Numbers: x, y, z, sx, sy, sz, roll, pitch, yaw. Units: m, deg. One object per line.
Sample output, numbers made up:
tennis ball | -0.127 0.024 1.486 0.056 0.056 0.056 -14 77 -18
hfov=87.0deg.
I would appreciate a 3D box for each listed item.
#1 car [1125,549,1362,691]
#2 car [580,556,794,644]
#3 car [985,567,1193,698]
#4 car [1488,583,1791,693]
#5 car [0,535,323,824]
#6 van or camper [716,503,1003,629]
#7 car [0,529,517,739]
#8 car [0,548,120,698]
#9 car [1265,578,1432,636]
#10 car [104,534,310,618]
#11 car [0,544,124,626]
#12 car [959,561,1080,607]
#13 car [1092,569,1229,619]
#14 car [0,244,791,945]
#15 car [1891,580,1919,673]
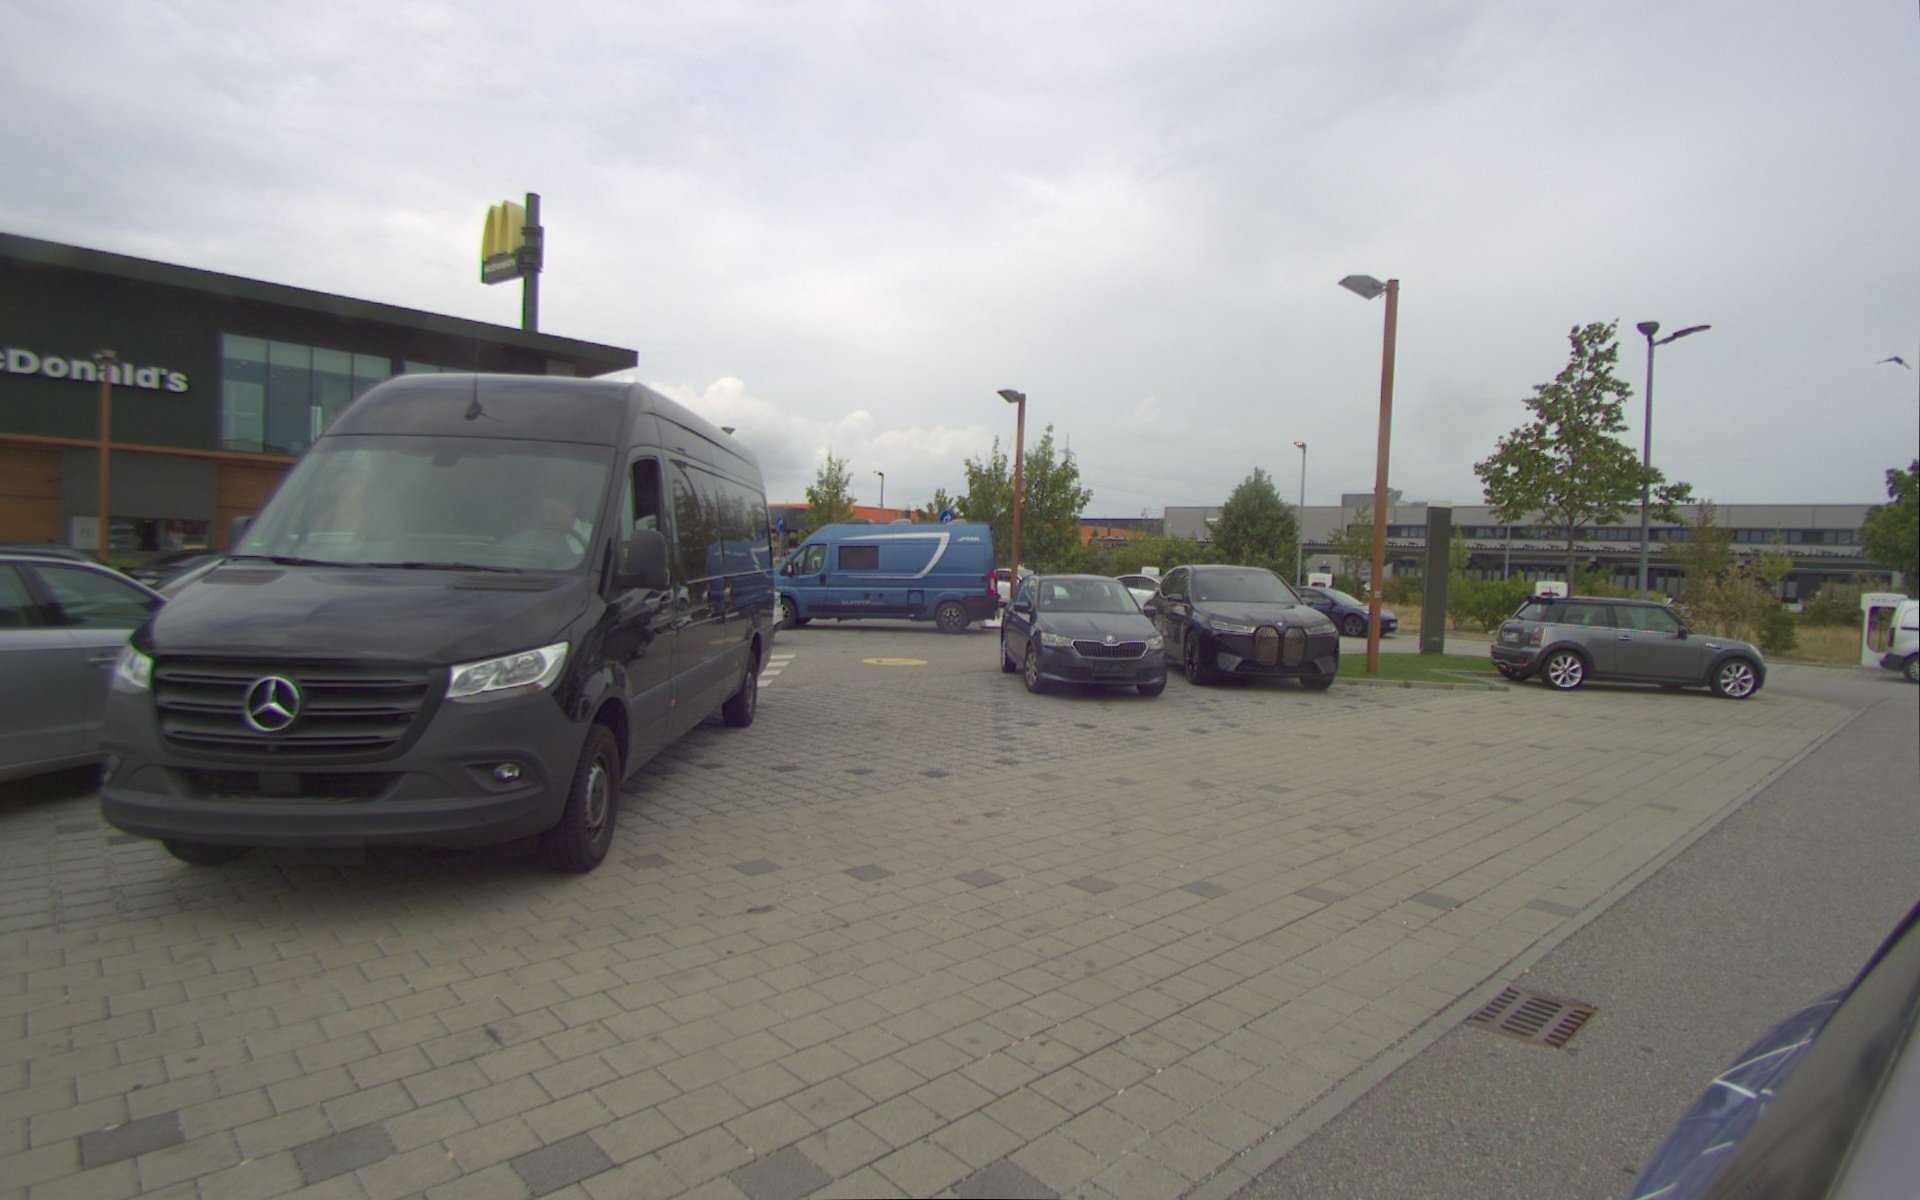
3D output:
car | 4.061 0.188 15.501 1.961 1.749 4.901 2 1 -3
car | -5.009 -0.024 18.945 3.505 1.472 1.844 2 1 -1
car | 1.522 0.313 13.469 1.795 1.429 4.006 1 2 -7
car | 10.399 0.539 15.714 3.466 1.393 1.607 4 1 6
car | -5.714 0.370 5.800 1.655 1.469 4.002 1 1 -1
van or camper | -2.264 -0.807 23.888 6.457 2.734 2.170 1 1 5
car | -7.072 0.280 10.480 1.805 1.710 4.127 4 2 42
car | -12.018 0.137 11.232 3.926 1.528 1.769 3 1 2
car | 11.948 0.157 31.354 1.802 1.476 4.451 0 3 -41
car | -17.538 -0.657 23.859 1.861 1.681 4.265 3 4 -3
car | -20.066 -0.354 21.117 1.804 1.593 4.093 2 2 2
car | 2.376 -0.683 41.680 2.038 1.621 4.937 0 3 -43
car | 7.154 -0.252 36.414 2.040 1.572 4.467 0 3 -45
car | -2.726 -0.142 7.300 2.033 2.584 7.018 1 2 -2
car | 21.826 0.692 20.421 1.914 1.911 4.327 2 2 -44
